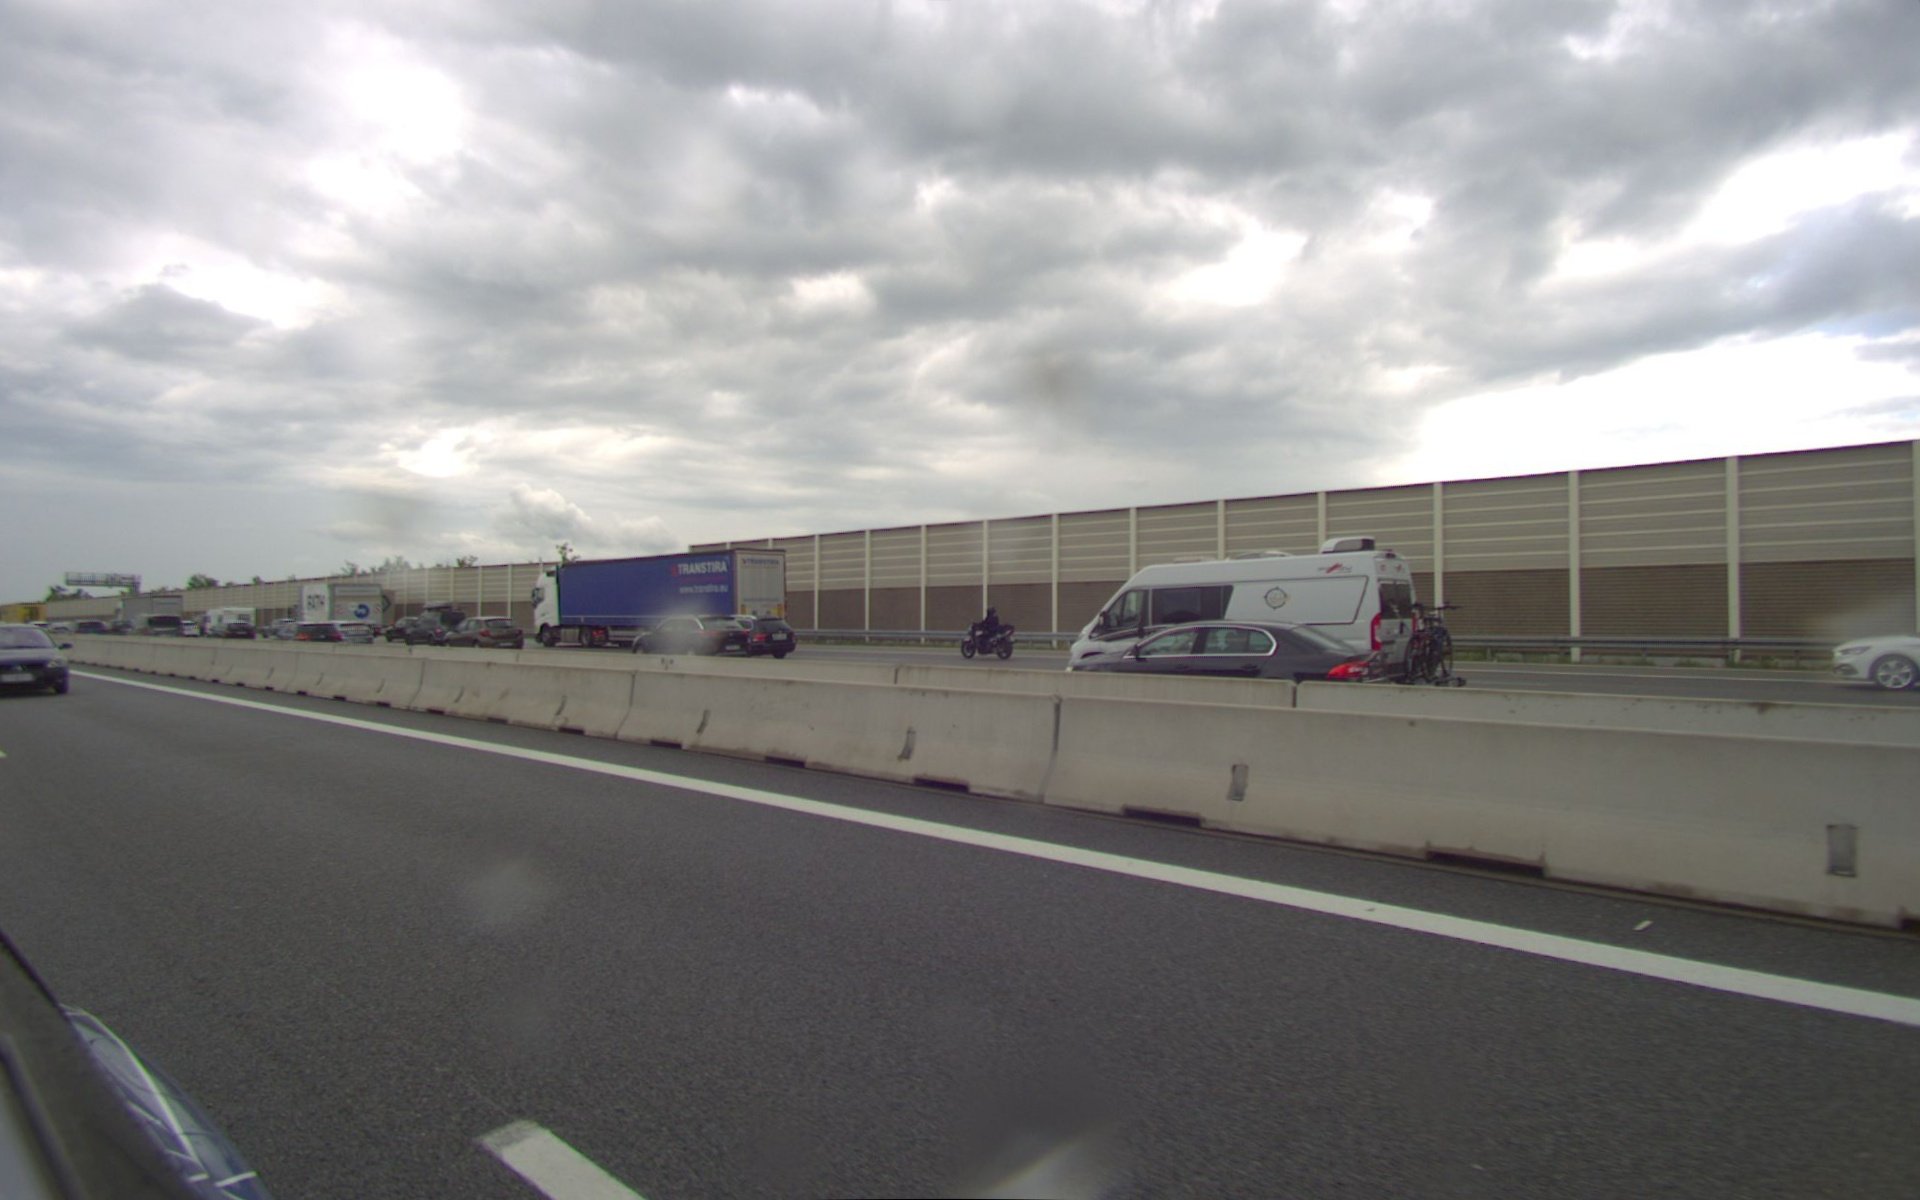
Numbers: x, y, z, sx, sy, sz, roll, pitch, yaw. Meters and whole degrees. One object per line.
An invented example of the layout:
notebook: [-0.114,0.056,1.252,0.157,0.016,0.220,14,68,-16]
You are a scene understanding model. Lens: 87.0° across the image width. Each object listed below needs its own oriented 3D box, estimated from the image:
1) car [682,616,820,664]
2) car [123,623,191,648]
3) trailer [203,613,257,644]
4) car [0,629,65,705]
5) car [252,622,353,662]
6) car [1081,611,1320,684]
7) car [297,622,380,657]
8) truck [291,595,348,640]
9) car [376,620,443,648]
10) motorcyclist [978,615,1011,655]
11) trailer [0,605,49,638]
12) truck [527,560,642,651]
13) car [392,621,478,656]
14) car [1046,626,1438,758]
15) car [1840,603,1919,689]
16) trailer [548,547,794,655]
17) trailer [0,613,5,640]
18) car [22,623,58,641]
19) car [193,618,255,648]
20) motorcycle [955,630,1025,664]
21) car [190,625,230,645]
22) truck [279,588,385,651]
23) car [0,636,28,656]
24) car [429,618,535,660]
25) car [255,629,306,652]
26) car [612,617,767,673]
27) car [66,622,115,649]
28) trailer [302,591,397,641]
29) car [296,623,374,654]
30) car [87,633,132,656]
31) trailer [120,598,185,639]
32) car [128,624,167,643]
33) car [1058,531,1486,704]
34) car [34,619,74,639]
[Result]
car: [-7.102,1.298,34.054,4.997,1.502,2.038,-1,-1,42]
car: [-45.015,2.013,56.683,5.595,1.309,1.854,-2,-2,40]
trailer: [-63.185,2.482,87.572,6.081,2.514,2.434,-2,-2,41]
car: [-19.358,1.301,20.301,3.997,1.413,1.558,-2,-1,40]
car: [-26.397,1.641,40.587,4.993,1.502,2.039,-1,-1,40]
car: [5.423,1.022,23.259,4.997,1.502,2.038,-1,-1,42]
car: [-30.291,1.890,49.253,4.994,1.612,2.039,-1,-1,40]
truck: [-59.100,1.612,93.335,5.721,4.065,2.887,-2,-1,40]
car: [-34.009,2.054,62.469,4.994,1.612,2.039,-1,-1,40]
motorcyclist: [1.075,1.086,31.829,0.796,1.233,0.630,-2,0,41]
trailer: [-121.938,2.873,131.762,14.437,4.062,2.734,-2,-1,39]
truck: [-17.944,0.323,48.205,5.722,4.065,2.717,-2,-1,40]
car: [-26.015,1.862,50.069,4.994,1.612,2.039,-1,-1,40]
car: [3.824,1.148,14.363,4.997,1.502,2.038,-1,-1,42]
car: [18.452,0.791,17.385,4.997,1.502,2.038,-1,-1,42]
trailer: [-13.018,0.187,44.002,14.442,4.062,2.733,-2,-1,40]
trailer: [-146.011,4.083,151.770,10.111,3.969,2.901,-2,-2,40]
car: [-96.642,3.371,106.312,4.772,1.830,2.041,-2,-2,39]
car: [-44.612,2.016,61.282,5.010,1.712,1.854,-2,-2,40]
motorcycle: [0.922,1.471,31.982,2.429,1.015,0.512,-2,0,41]
car: [-68.081,3.165,91.803,4.656,1.712,1.935,-2,-2,41]
truck: [-38.043,1.193,61.113,9.991,3.554,2.668,-2,0,42]
car: [-82.478,3.974,87.692,4.405,1.712,1.936,-2,-2,39]
car: [-18.788,1.482,39.694,4.997,1.502,2.038,-1,-1,42]
car: [-54.199,3.238,80.654,5.083,1.712,2.040,-2,-2,40]
car: [-7.999,1.263,29.662,4.997,1.502,2.038,-1,-1,42]
car: [-58.866,2.408,68.512,4.218,1.712,1.854,-2,-2,40]
trailer: [-53.688,1.471,88.709,13.851,4.062,2.905,-2,-1,41]
car: [-31.674,1.905,51.231,4.995,1.502,2.038,-1,-1,41]
car: [-68.447,3.566,81.450,4.405,1.712,1.936,-2,-2,39]
trailer: [-85.262,2.028,106.707,14.443,4.062,2.733,-2,-1,41]
car: [-75.766,3.126,94.397,4.405,1.712,1.936,-2,-2,39]
car: [5.317,0.313,18.301,7.085,2.569,2.358,-1,-1,42]
car: [-87.388,2.792,97.602,5.107,1.830,2.041,-2,-2,39]
